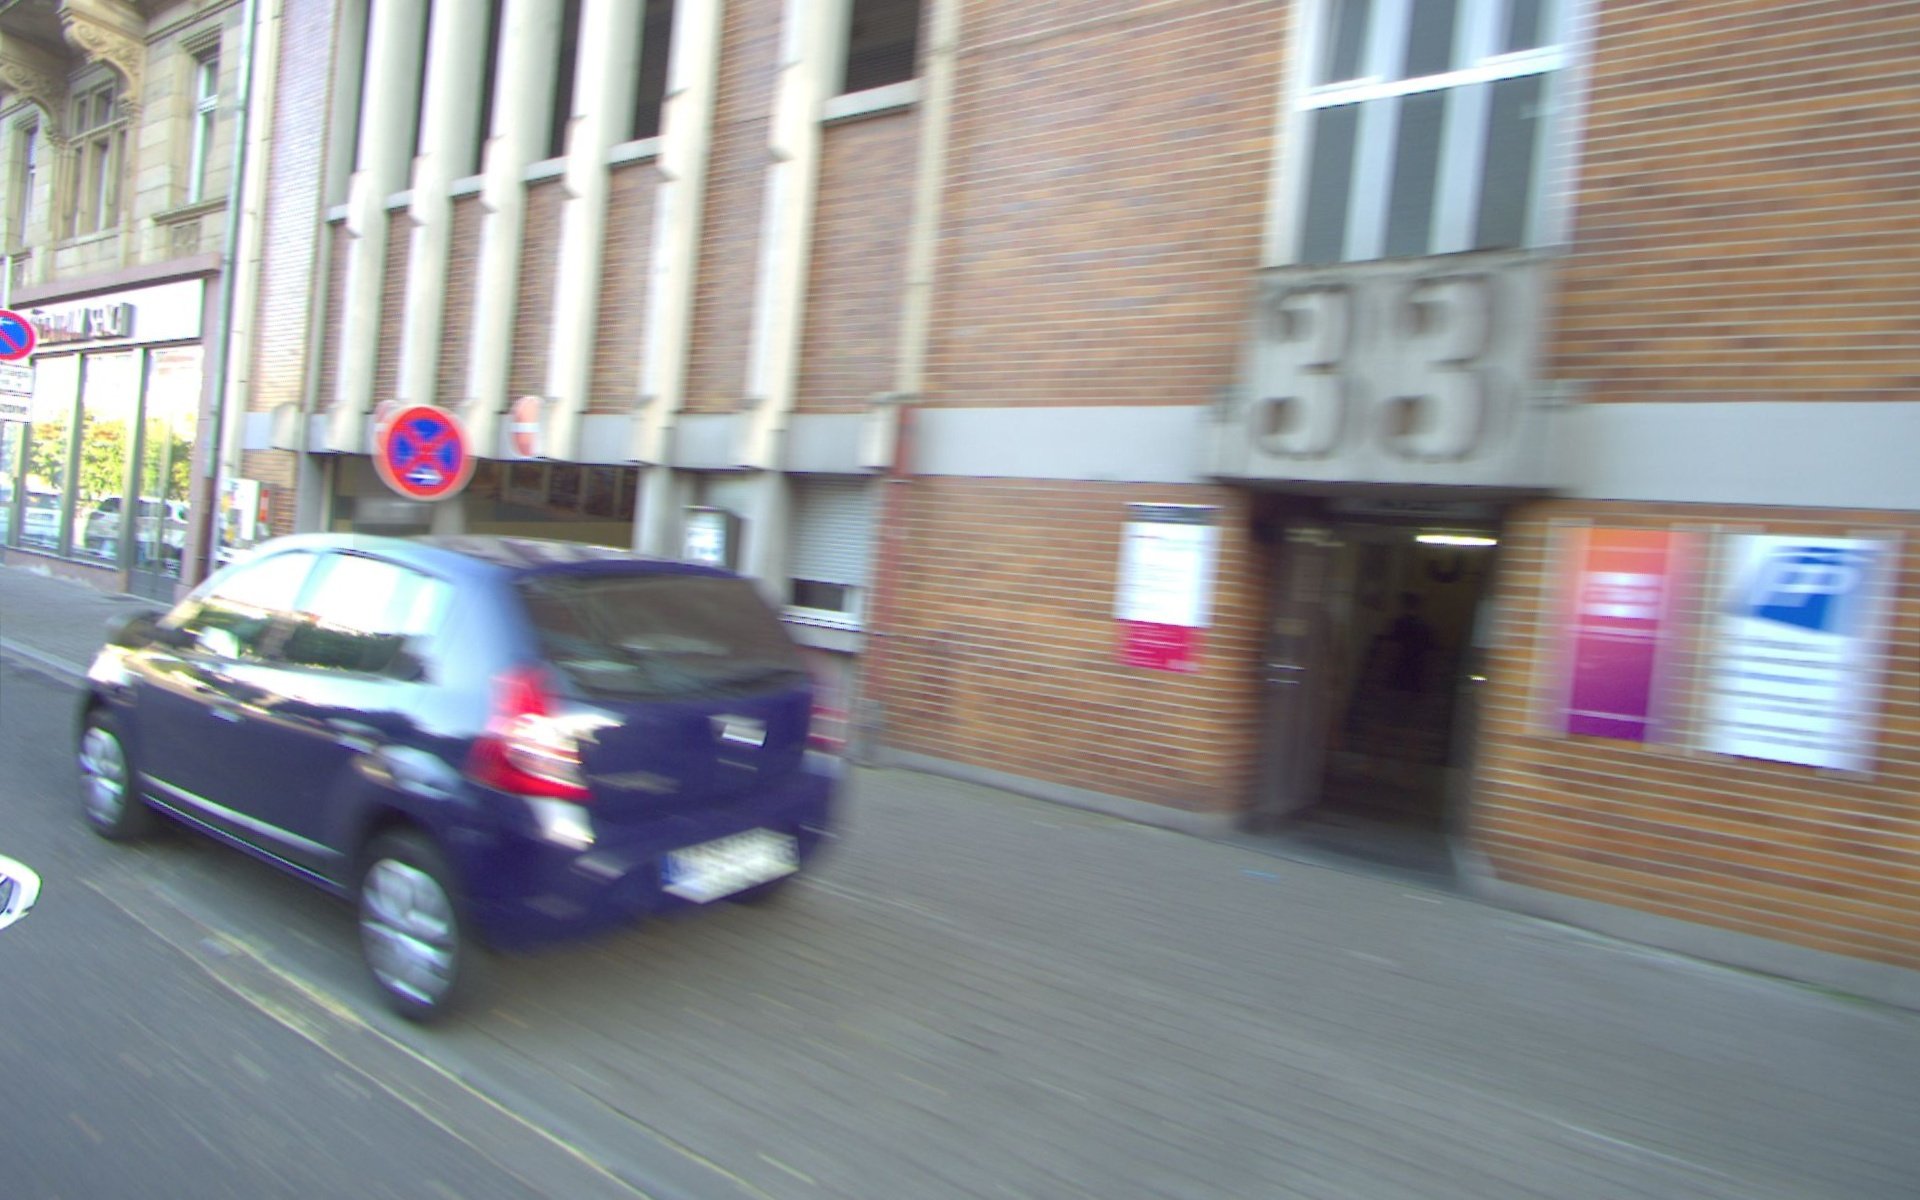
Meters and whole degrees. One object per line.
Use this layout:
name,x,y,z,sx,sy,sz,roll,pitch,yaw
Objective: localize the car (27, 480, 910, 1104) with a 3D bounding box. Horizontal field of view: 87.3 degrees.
car,-2.373,0.408,4.498,3.935,1.558,1.757,7,4,33
